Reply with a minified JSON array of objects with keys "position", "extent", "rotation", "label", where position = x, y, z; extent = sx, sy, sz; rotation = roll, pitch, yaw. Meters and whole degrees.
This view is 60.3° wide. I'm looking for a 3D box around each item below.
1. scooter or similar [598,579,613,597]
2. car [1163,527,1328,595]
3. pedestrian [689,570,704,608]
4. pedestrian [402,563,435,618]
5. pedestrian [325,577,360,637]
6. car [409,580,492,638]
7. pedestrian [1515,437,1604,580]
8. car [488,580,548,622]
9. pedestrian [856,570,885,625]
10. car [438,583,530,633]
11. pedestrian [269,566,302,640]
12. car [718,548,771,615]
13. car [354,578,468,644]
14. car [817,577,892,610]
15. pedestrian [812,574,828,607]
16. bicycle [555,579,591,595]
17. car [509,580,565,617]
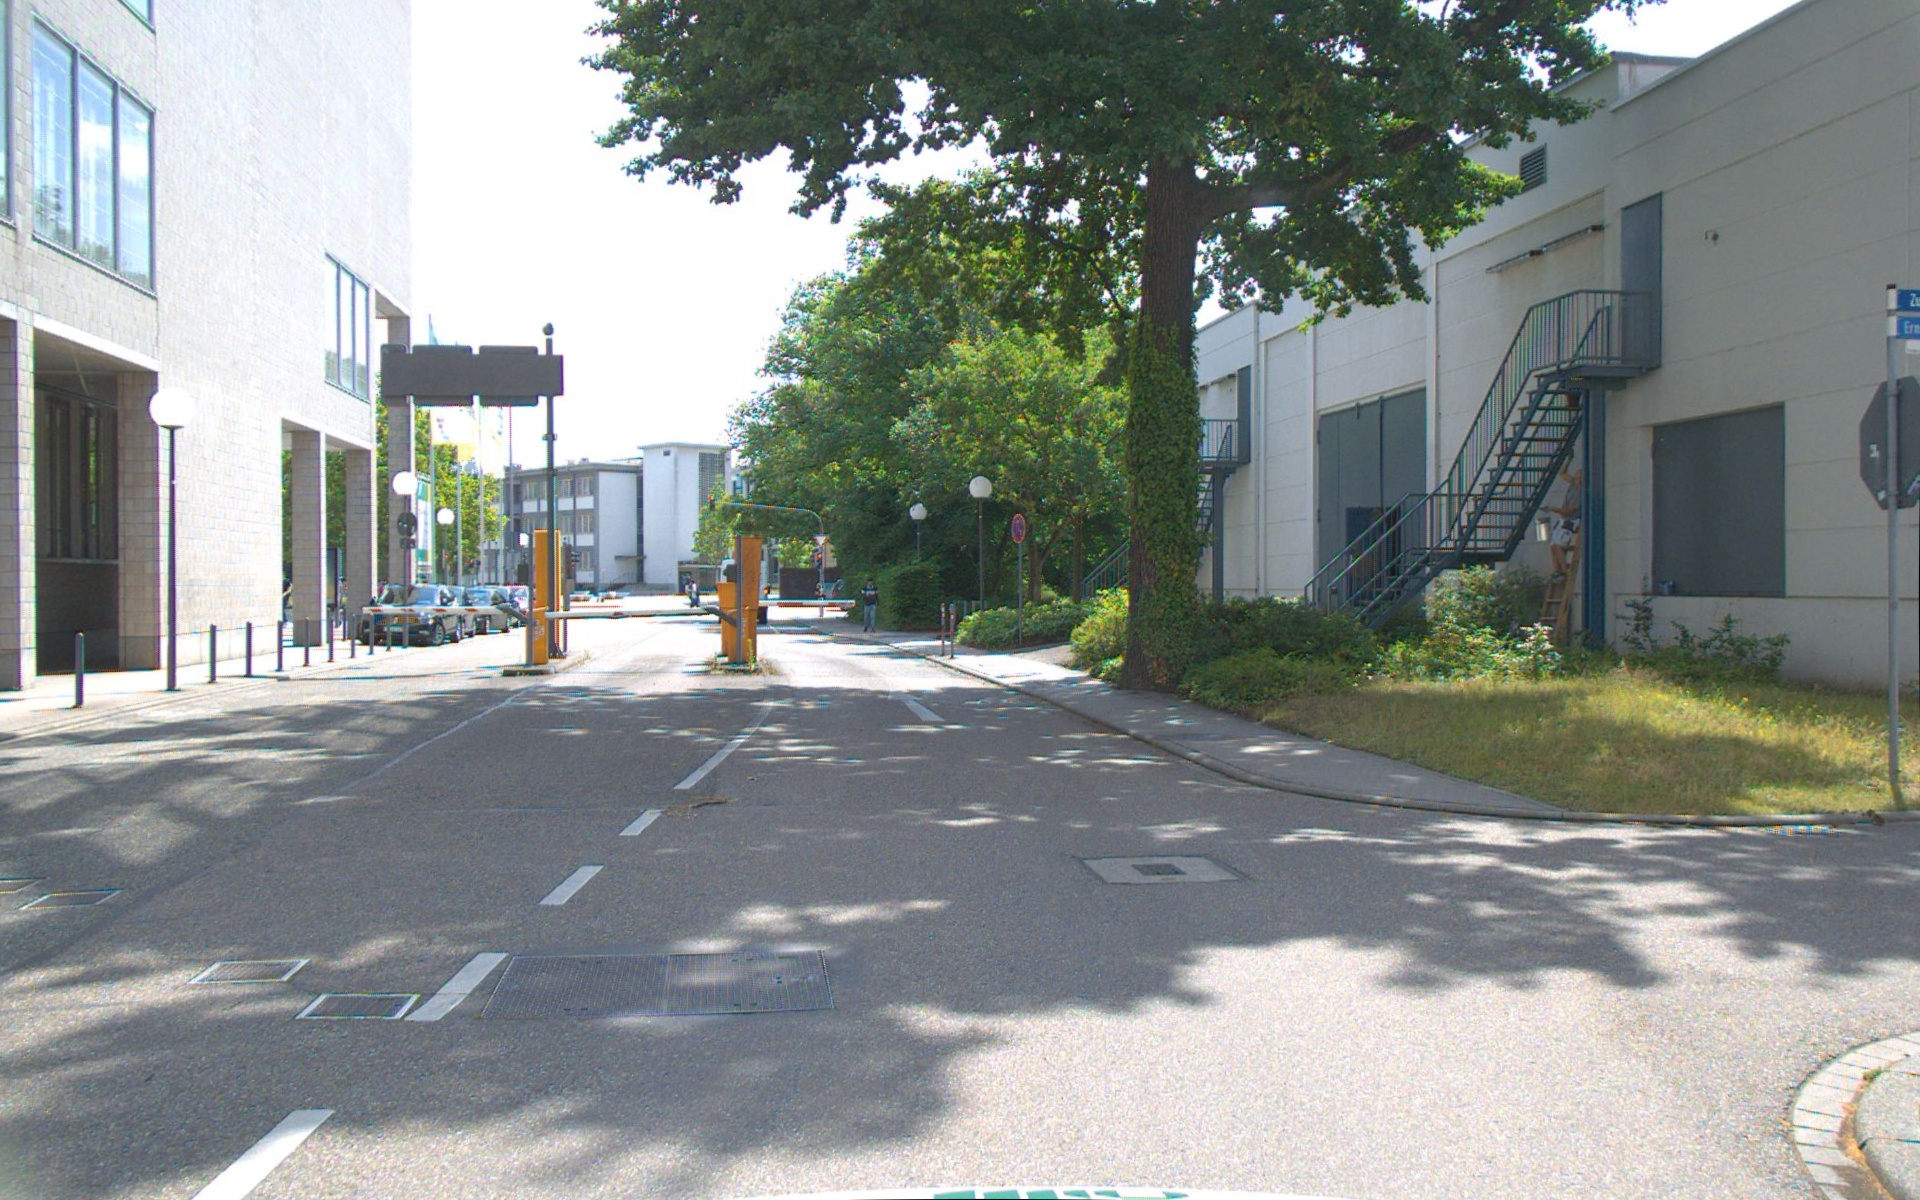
[{"position":[-24.318,-0.851,113.400],"extent":[0.705,1.198,2.711],"rotation":[0,1,-19],"label":"scooter or similar"},{"position":[8.968,-1.232,52.161],"extent":[4.734,2.049,2.058],"rotation":[-1,1,-8],"label":"car"},{"position":[-13.000,-0.549,81.546],"extent":[0.706,1.891,0.769],"rotation":[0,1,-7],"label":"pedestrian"},{"position":[-20.376,-0.358,62.236],"extent":[0.884,2.063,0.798],"rotation":[0,1,22],"label":"pedestrian"},{"position":[-21.549,0.228,57.753],"extent":[0.967,2.049,1.161],"rotation":[0,1,-12],"label":"pedestrian"},{"position":[-14.026,0.228,45.679],"extent":[1.608,1.493,3.700],"rotation":[2,0,-8],"label":"car"},{"position":[8.749,-1.319,24.167],"extent":[0.909,2.049,0.949],"rotation":[-1,1,-5],"label":"pedestrian"},{"position":[-16.880,0.019,63.300],"extent":[1.645,1.493,3.904],"rotation":[2,0,-7],"label":"car"},{"position":[-2.773,-0.087,51.289],"extent":[0.726,1.704,1.253],"rotation":[0,1,-11],"label":"pedestrian"},{"position":[-14.445,0.212,50.415],"extent":[1.824,1.402,5.009],"rotation":[2,0,-6],"label":"car"},{"position":[-22.626,0.105,55.510],"extent":[0.741,2.464,0.738],"rotation":[0,0,4],"label":"pedestrian"},{"position":[-8.998,-0.787,68.777],"extent":[2.056,2.611,5.591],"rotation":[-1,1,-9],"label":"car"},{"position":[-13.560,0.234,41.099],"extent":[1.825,1.493,4.710],"rotation":[2,0,-8],"label":"car"},{"position":[-5.900,-0.396,92.639],"extent":[4.003,1.777,1.725],"rotation":[-1,1,-11],"label":"car"},{"position":[-6.965,-0.476,82.234],"extent":[0.718,1.603,0.773],"rotation":[1,0,-13],"label":"pedestrian"},{"position":[-33.774,-1.113,144.504],"extent":[1.098,1.387,2.945],"rotation":[0,0,44],"label":"bicycle"},{"position":[-17.422,-0.073,68.280],"extent":[1.645,1.419,4.655],"rotation":[2,0,-7],"label":"car"}]
